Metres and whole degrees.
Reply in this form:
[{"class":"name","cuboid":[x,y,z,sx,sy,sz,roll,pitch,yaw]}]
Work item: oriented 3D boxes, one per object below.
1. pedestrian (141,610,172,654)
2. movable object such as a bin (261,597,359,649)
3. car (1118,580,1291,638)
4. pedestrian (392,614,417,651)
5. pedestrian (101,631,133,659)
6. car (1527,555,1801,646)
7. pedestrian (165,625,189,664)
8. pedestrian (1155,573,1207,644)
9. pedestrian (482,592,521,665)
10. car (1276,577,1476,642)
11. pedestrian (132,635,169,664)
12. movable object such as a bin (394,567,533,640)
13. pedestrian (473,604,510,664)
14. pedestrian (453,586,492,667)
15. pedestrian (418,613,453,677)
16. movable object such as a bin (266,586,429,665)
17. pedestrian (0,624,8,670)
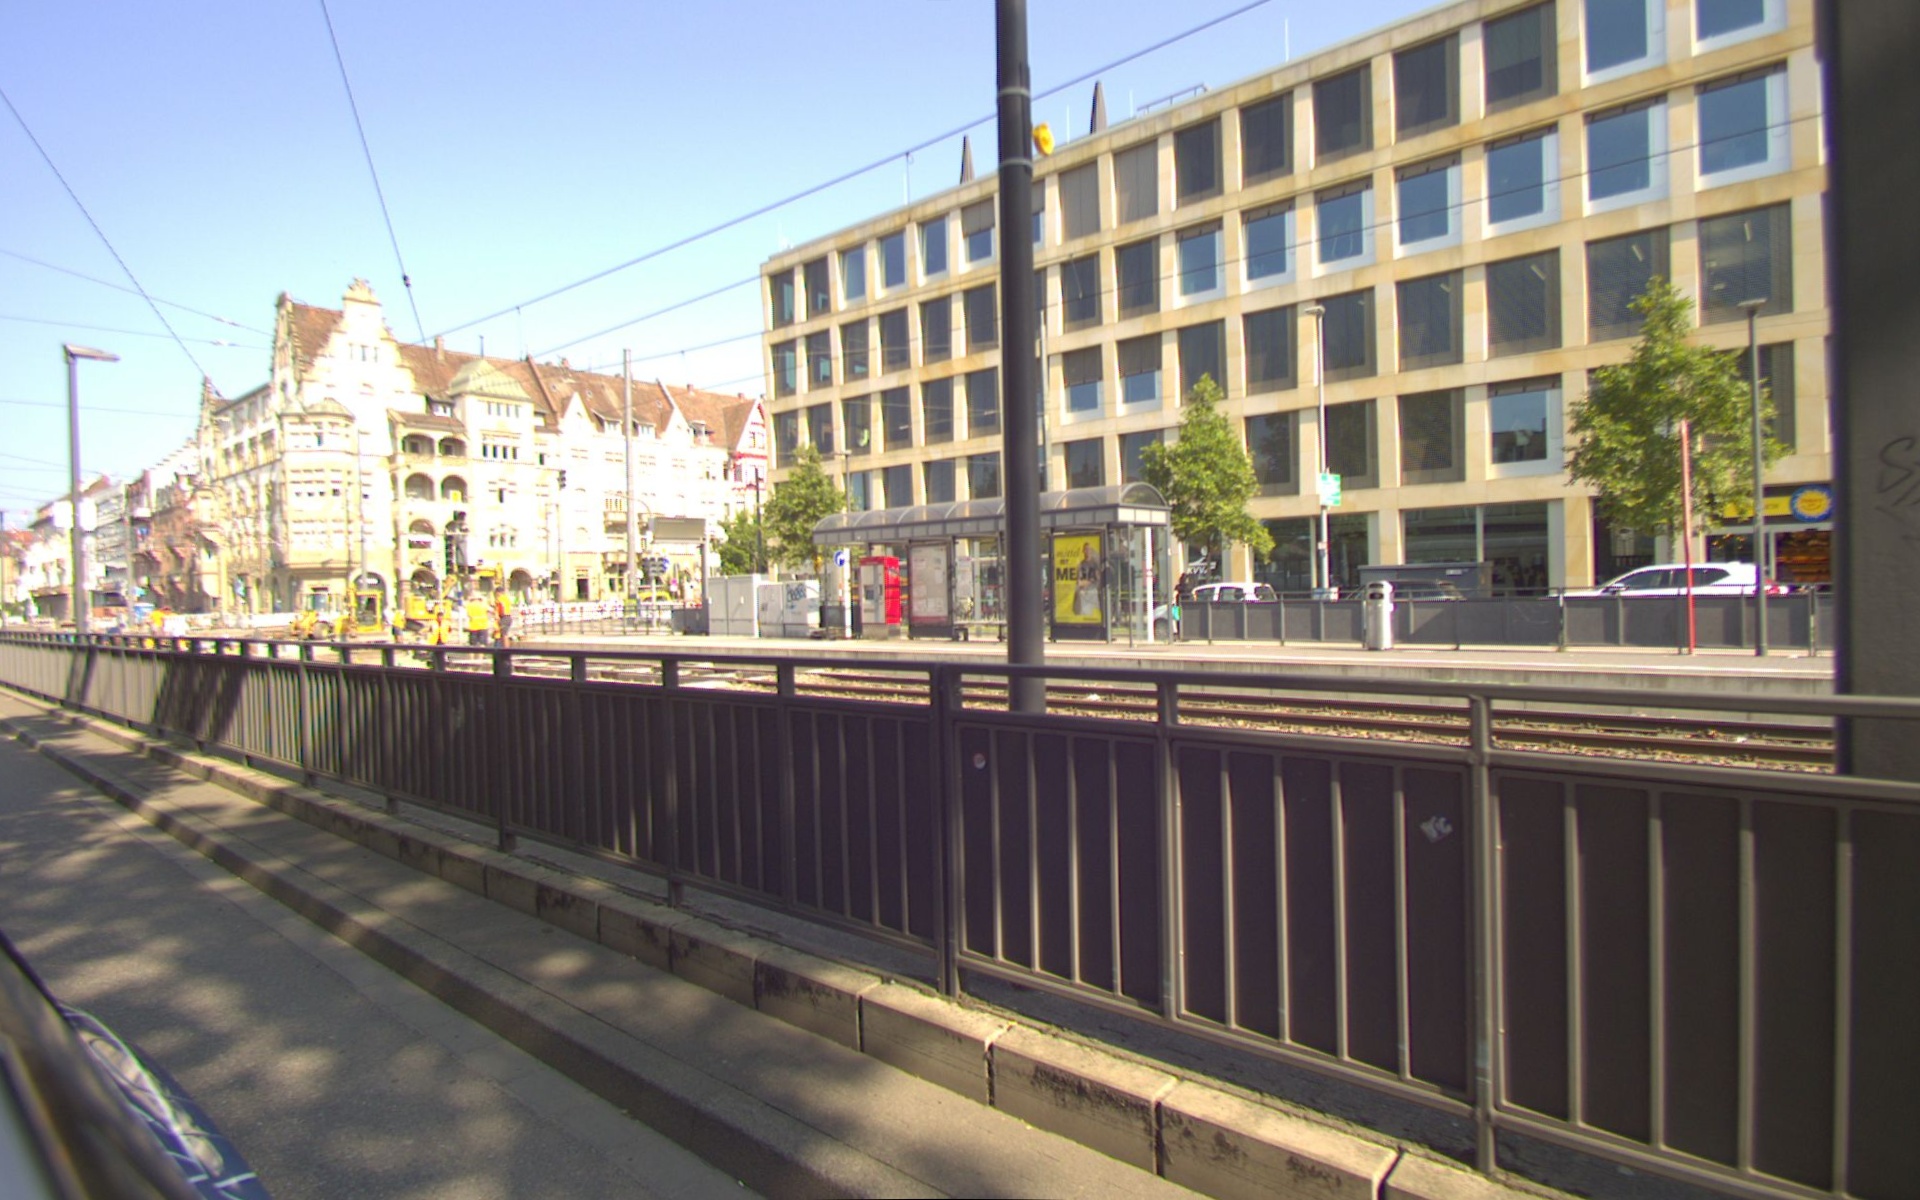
[{"class":"pedestrian","cuboid":[-29.981,1.186,37.766,0.804,1.578,0.558,-2,0,-31]},{"class":"movable object such as a bin","cuboid":[-37.884,1.268,59.173,2.417,2.856,4.812,-1,0,3]},{"class":"car","cuboid":[6.399,0.238,26.690,3.997,1.414,1.882,-2,0,40]},{"class":"pedestrian","cuboid":[-27.166,1.584,49.477,0.825,1.762,0.666,-2,0,10]},{"class":"pedestrian","cuboid":[-29.506,1.577,35.419,0.808,0.933,0.513,-2,0,-36]},{"class":"car","cuboid":[14.004,0.049,20.315,4.314,1.638,1.772,-2,0,39]},{"class":"pedestrian","cuboid":[-32.094,1.818,41.487,0.692,1.578,0.557,-1,-1,-44]},{"class":"pedestrian","cuboid":[5.440,0.204,24.929,0.827,1.689,0.881,-2,0,-43]},{"class":"pedestrian","cuboid":[-11.778,0.730,26.016,0.633,1.829,0.625,-2,0,8]},{"class":"car","cuboid":[9.782,0.228,23.928,3.997,1.414,1.882,-2,0,40]},{"class":"pedestrian","cuboid":[-29.262,1.774,36.585,0.922,0.996,0.512,-2,0,2]},{"class":"movable object such as a bin","cuboid":[-32.080,0.112,65.353,7.261,4.379,4.981,-2,1,-36]},{"class":"pedestrian","cuboid":[-12.581,0.901,27.192,0.620,1.566,0.638,-2,0,14]},{"class":"pedestrian","cuboid":[-12.118,0.645,25.128,0.713,1.965,0.790,-2,0,-35]},{"class":"pedestrian","cuboid":[-14.153,1.188,27.324,0.657,1.675,0.774,-2,0,-16]},{"class":"movable object such as a bin","cuboid":[-26.786,0.995,44.059,8.472,2.979,3.577,0,3,41]},{"class":"pedestrian","cuboid":[-34.023,1.661,35.543,0.691,1.578,0.752,-2,-1,40]}]
